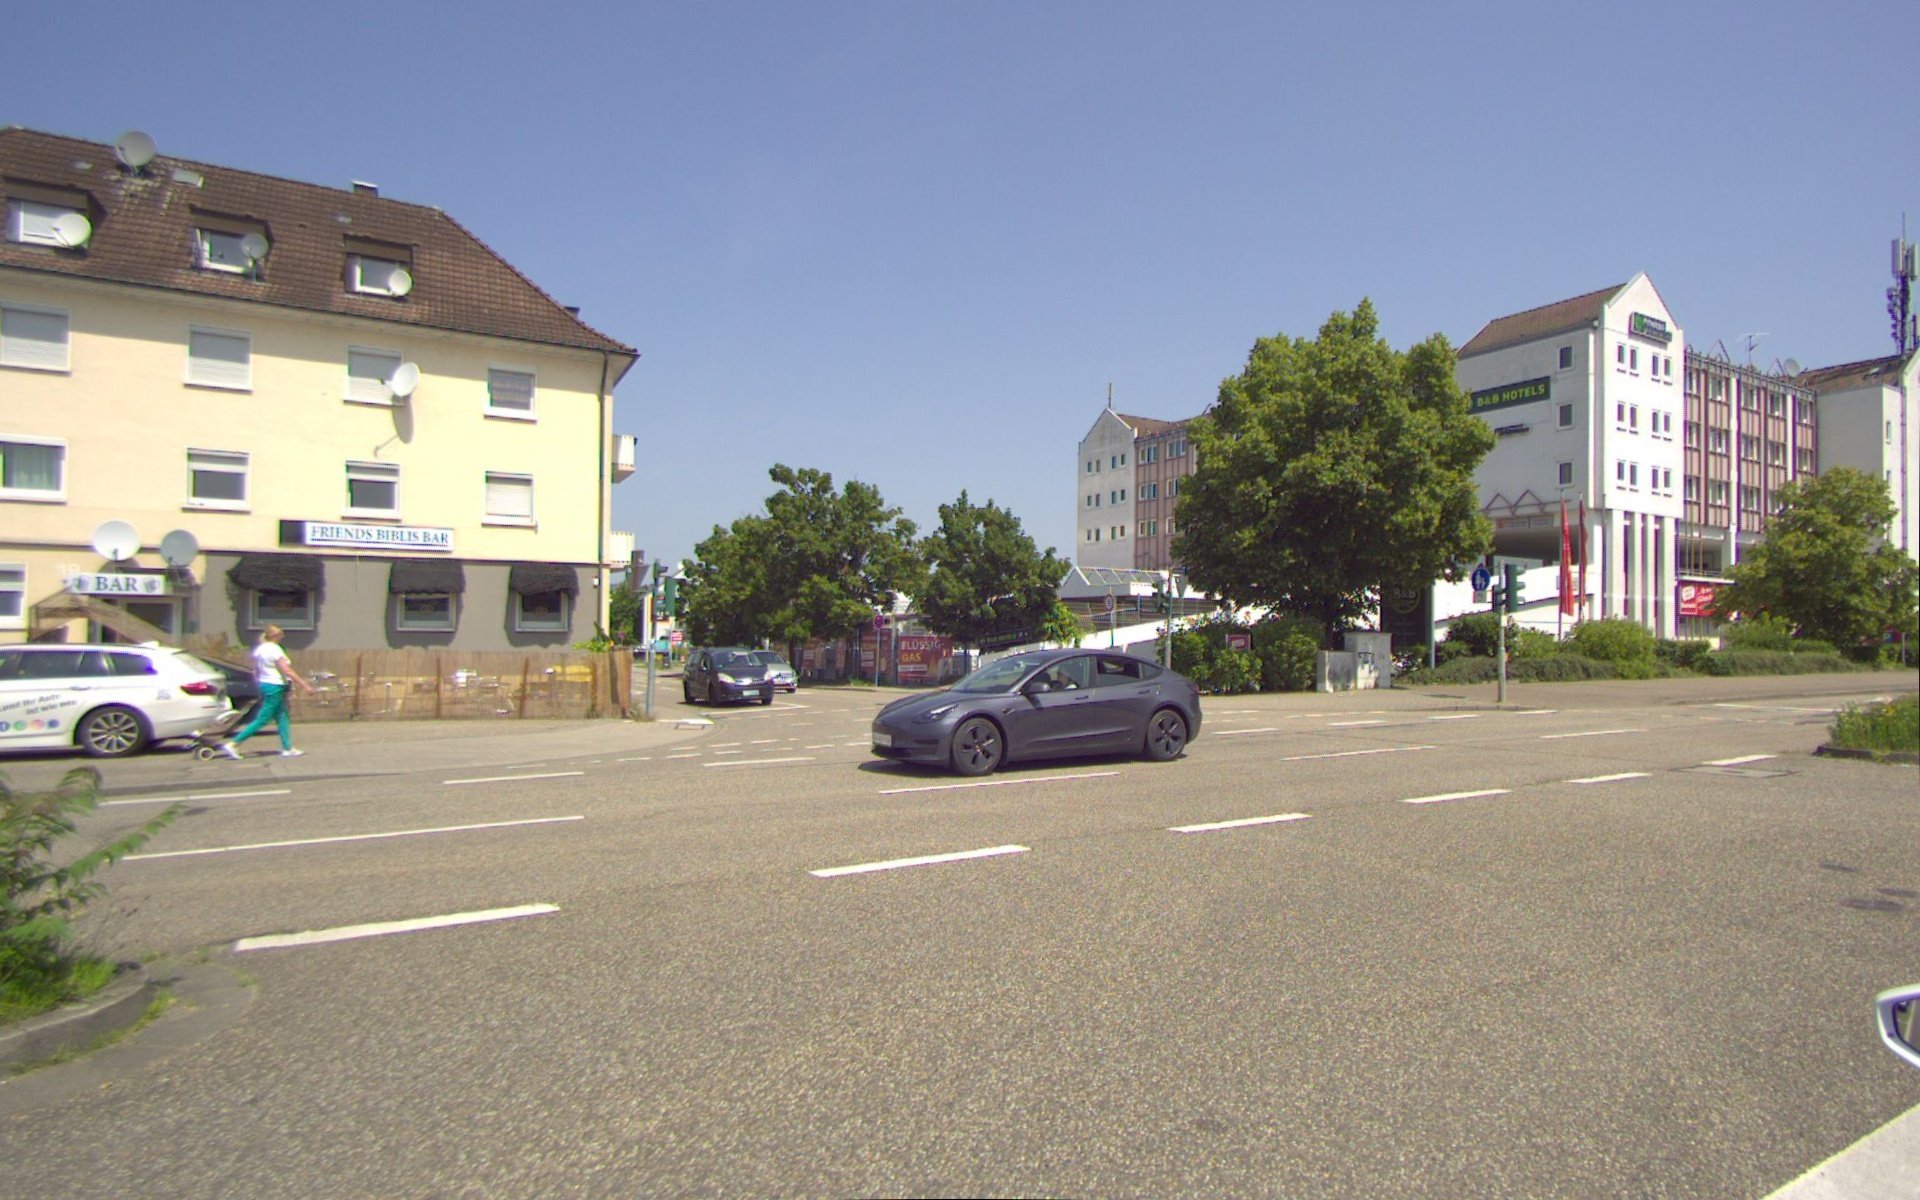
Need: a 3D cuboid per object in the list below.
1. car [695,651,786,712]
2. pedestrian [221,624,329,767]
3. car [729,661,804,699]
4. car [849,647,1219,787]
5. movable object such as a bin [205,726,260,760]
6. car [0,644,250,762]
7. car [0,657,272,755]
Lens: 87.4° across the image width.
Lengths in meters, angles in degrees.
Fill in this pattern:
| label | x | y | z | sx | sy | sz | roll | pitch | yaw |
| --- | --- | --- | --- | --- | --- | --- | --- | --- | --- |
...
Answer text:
| label | x | y | z | sx | sy | sz | roll | pitch | yaw |
| --- | --- | --- | --- | --- | --- | --- | --- | --- | --- |
| car | -6.516 | 2.321 | 29.534 | 1.843 | 1.633 | 3.977 | 1 | -3 | -24 |
| pedestrian | -8.833 | 1.200 | 12.998 | 1.020 | 1.770 | 0.738 | 1 | -2 | -27 |
| car | -7.160 | 2.882 | 36.836 | 1.843 | 1.249 | 3.977 | 1 | -3 | -24 |
| car | 1.006 | 1.377 | 12.963 | 4.448 | 1.505 | 1.984 | 2 | -3 | -30 |
| movable object such as a bin | -9.239 | 1.813 | 12.763 | 0.500 | 0.377 | 0.415 | 1 | -2 | -28 |
| car | -12.228 | 1.297 | 13.048 | 4.702 | 1.429 | 1.768 | 2 | -2 | -30 |
| car | -13.368 | 1.615 | 15.924 | 3.957 | 1.369 | 1.723 | 2 | -2 | -33 |
